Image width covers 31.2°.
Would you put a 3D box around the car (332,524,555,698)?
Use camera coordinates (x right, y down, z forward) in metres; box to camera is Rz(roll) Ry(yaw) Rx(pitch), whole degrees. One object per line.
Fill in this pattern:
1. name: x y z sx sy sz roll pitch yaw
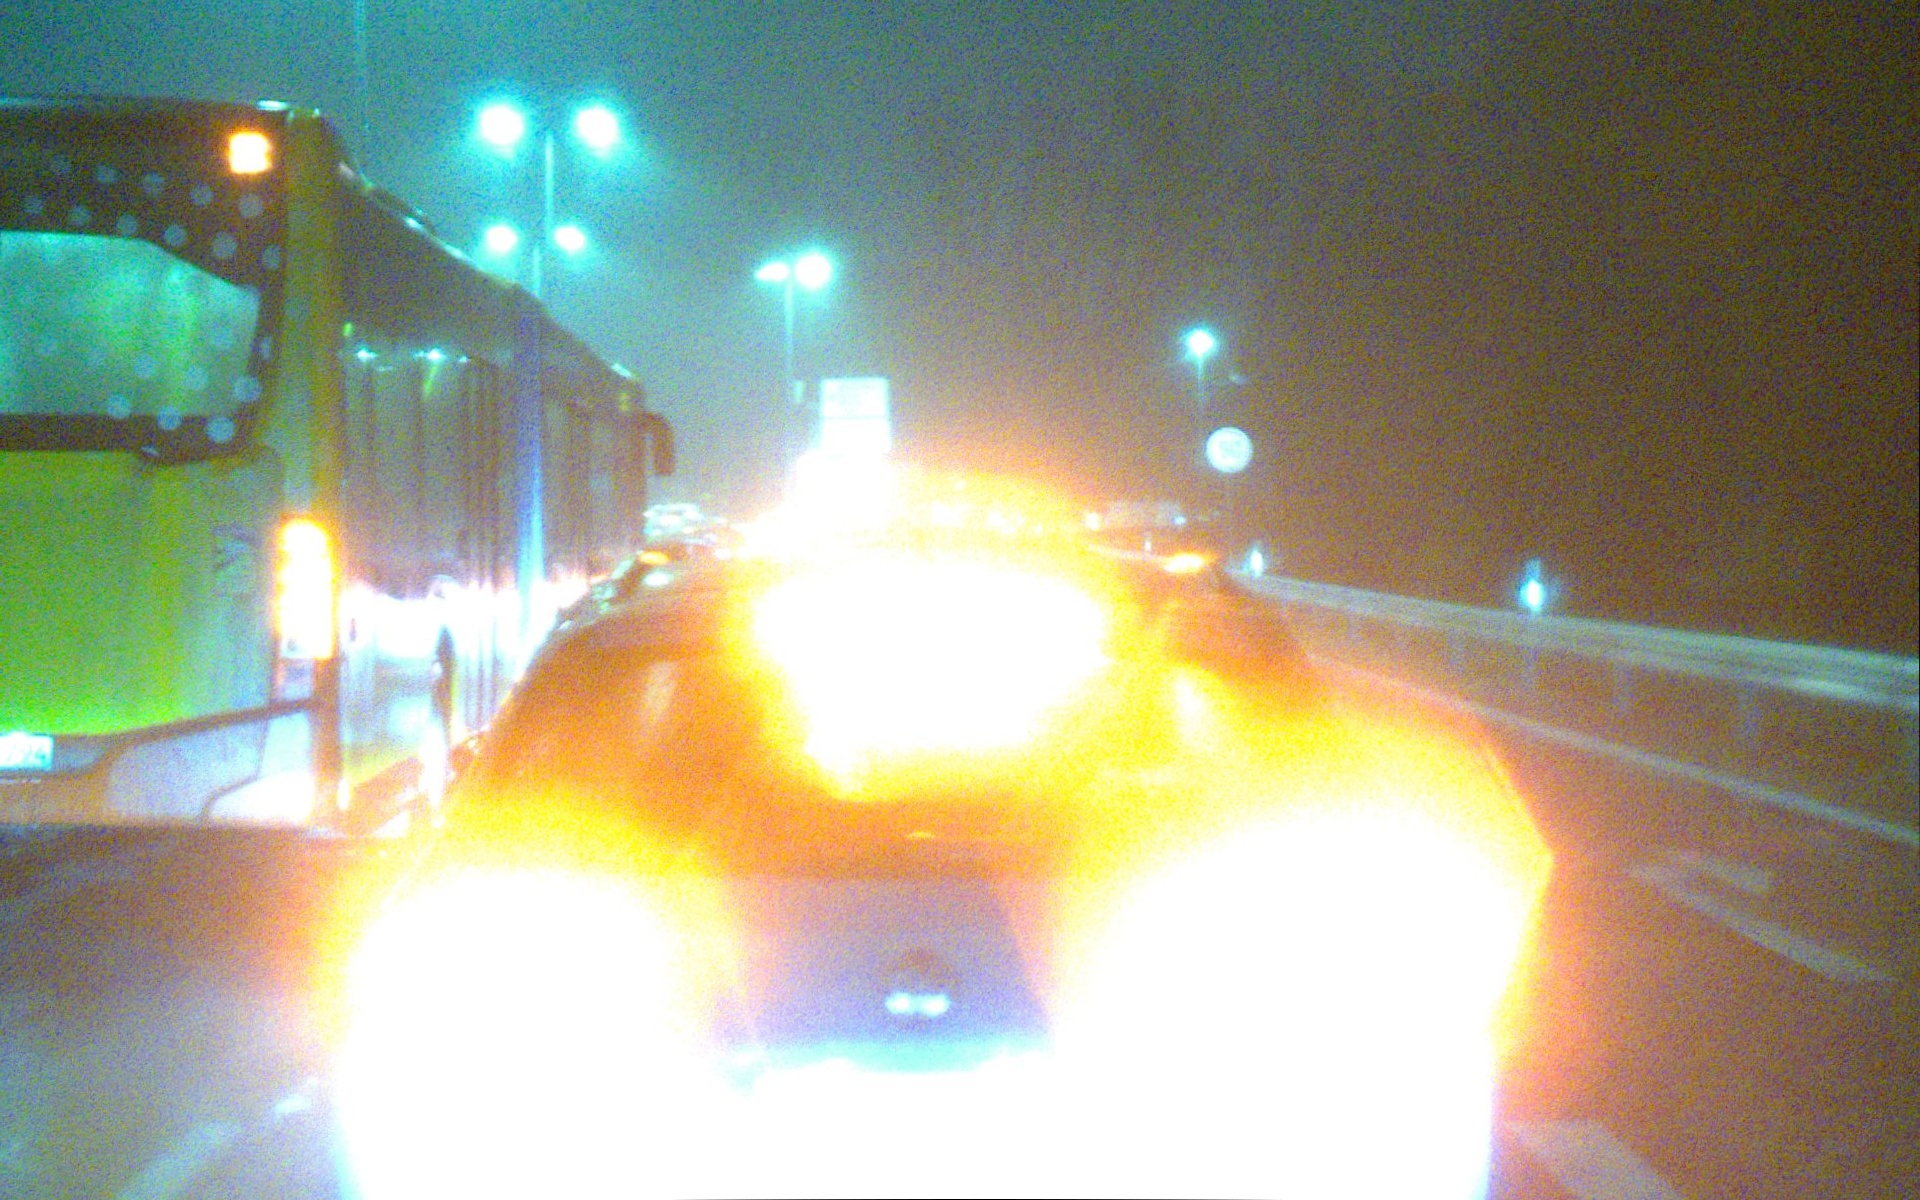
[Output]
1. car: -4.816 0.061 32.469 1.779 1.538 3.875 0 1 -4

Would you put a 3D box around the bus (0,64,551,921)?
1. bus: -3.682 -0.467 16.415 2.815 3.013 8.688 0 1 -3

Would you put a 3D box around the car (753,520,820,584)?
1. car: -5.581 -1.555 110.808 1.993 2.007 4.000 1 1 -1

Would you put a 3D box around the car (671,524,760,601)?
1. car: -5.034 -0.794 70.767 1.779 1.538 3.875 0 1 -4

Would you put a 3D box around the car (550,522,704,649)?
1. car: -4.201 -0.218 43.821 1.779 1.538 3.875 0 1 -3

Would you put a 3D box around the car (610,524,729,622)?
1. car: -4.719 -0.473 56.229 1.779 1.538 3.875 0 1 -3

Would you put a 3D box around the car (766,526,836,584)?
1. car: -4.321 -1.250 93.879 1.779 1.538 3.875 0 1 -1

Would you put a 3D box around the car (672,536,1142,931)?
1. car: -0.296 0.455 15.105 1.731 1.444 4.725 0 1 -2

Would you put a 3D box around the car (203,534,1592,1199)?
1. car: 0.008 0.617 6.794 1.822 1.479 4.567 0 1 3

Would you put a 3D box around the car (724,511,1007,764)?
1. car: -0.717 0.196 23.289 1.739 1.559 3.777 0 1 -4
